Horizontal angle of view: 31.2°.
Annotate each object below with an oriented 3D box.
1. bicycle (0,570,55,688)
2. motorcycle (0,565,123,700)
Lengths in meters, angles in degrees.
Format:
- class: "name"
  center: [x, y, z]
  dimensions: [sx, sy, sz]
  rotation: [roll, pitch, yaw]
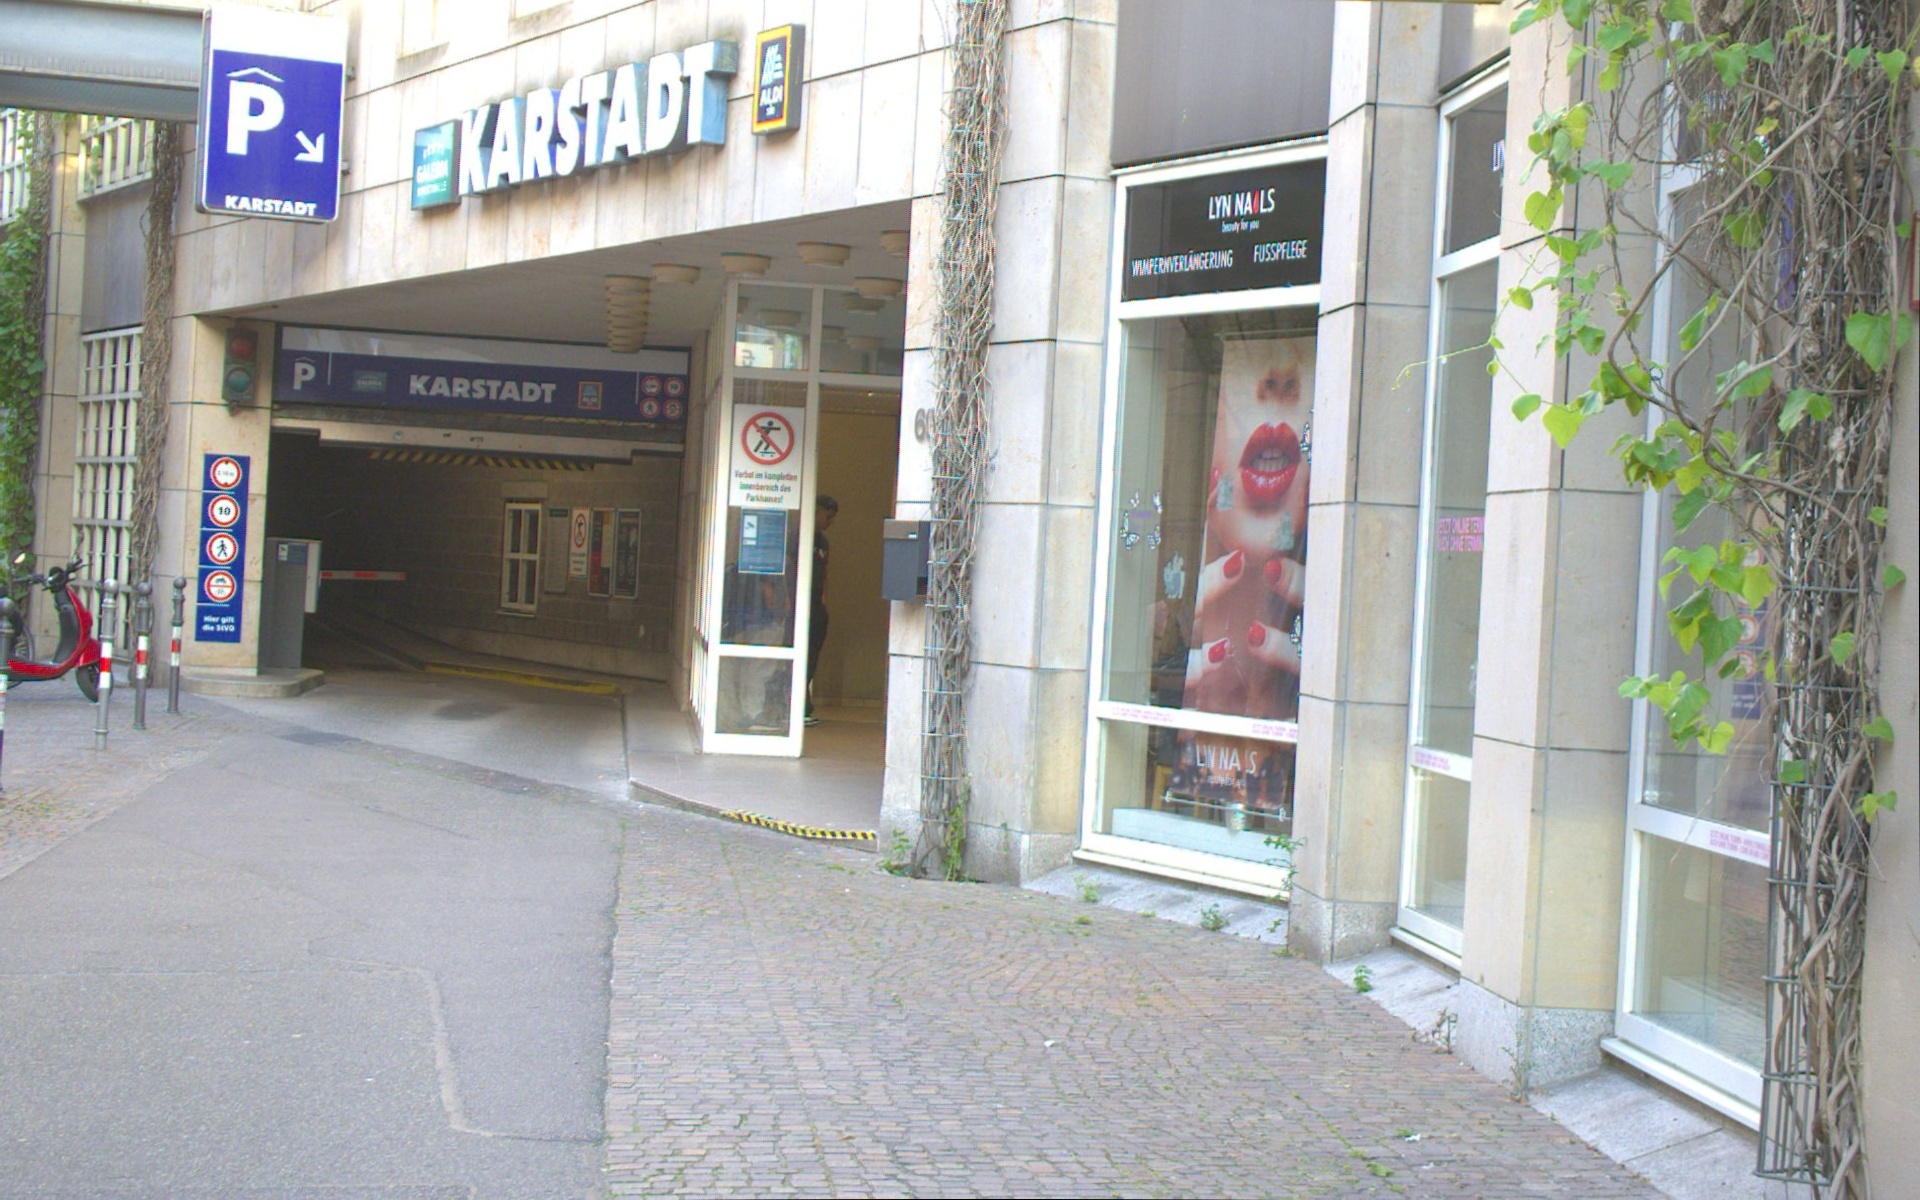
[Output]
- class: "bicycle"
  center: [-8.621, 0.226, 28.949]
  dimensions: [1.847, 0.978, 0.464]
  rotation: [2, 1, -26]
- class: "motorcycle"
  center: [-7.577, 0.250, 27.420]
  dimensions: [1.662, 1.047, 0.464]
  rotation: [2, 1, -26]
